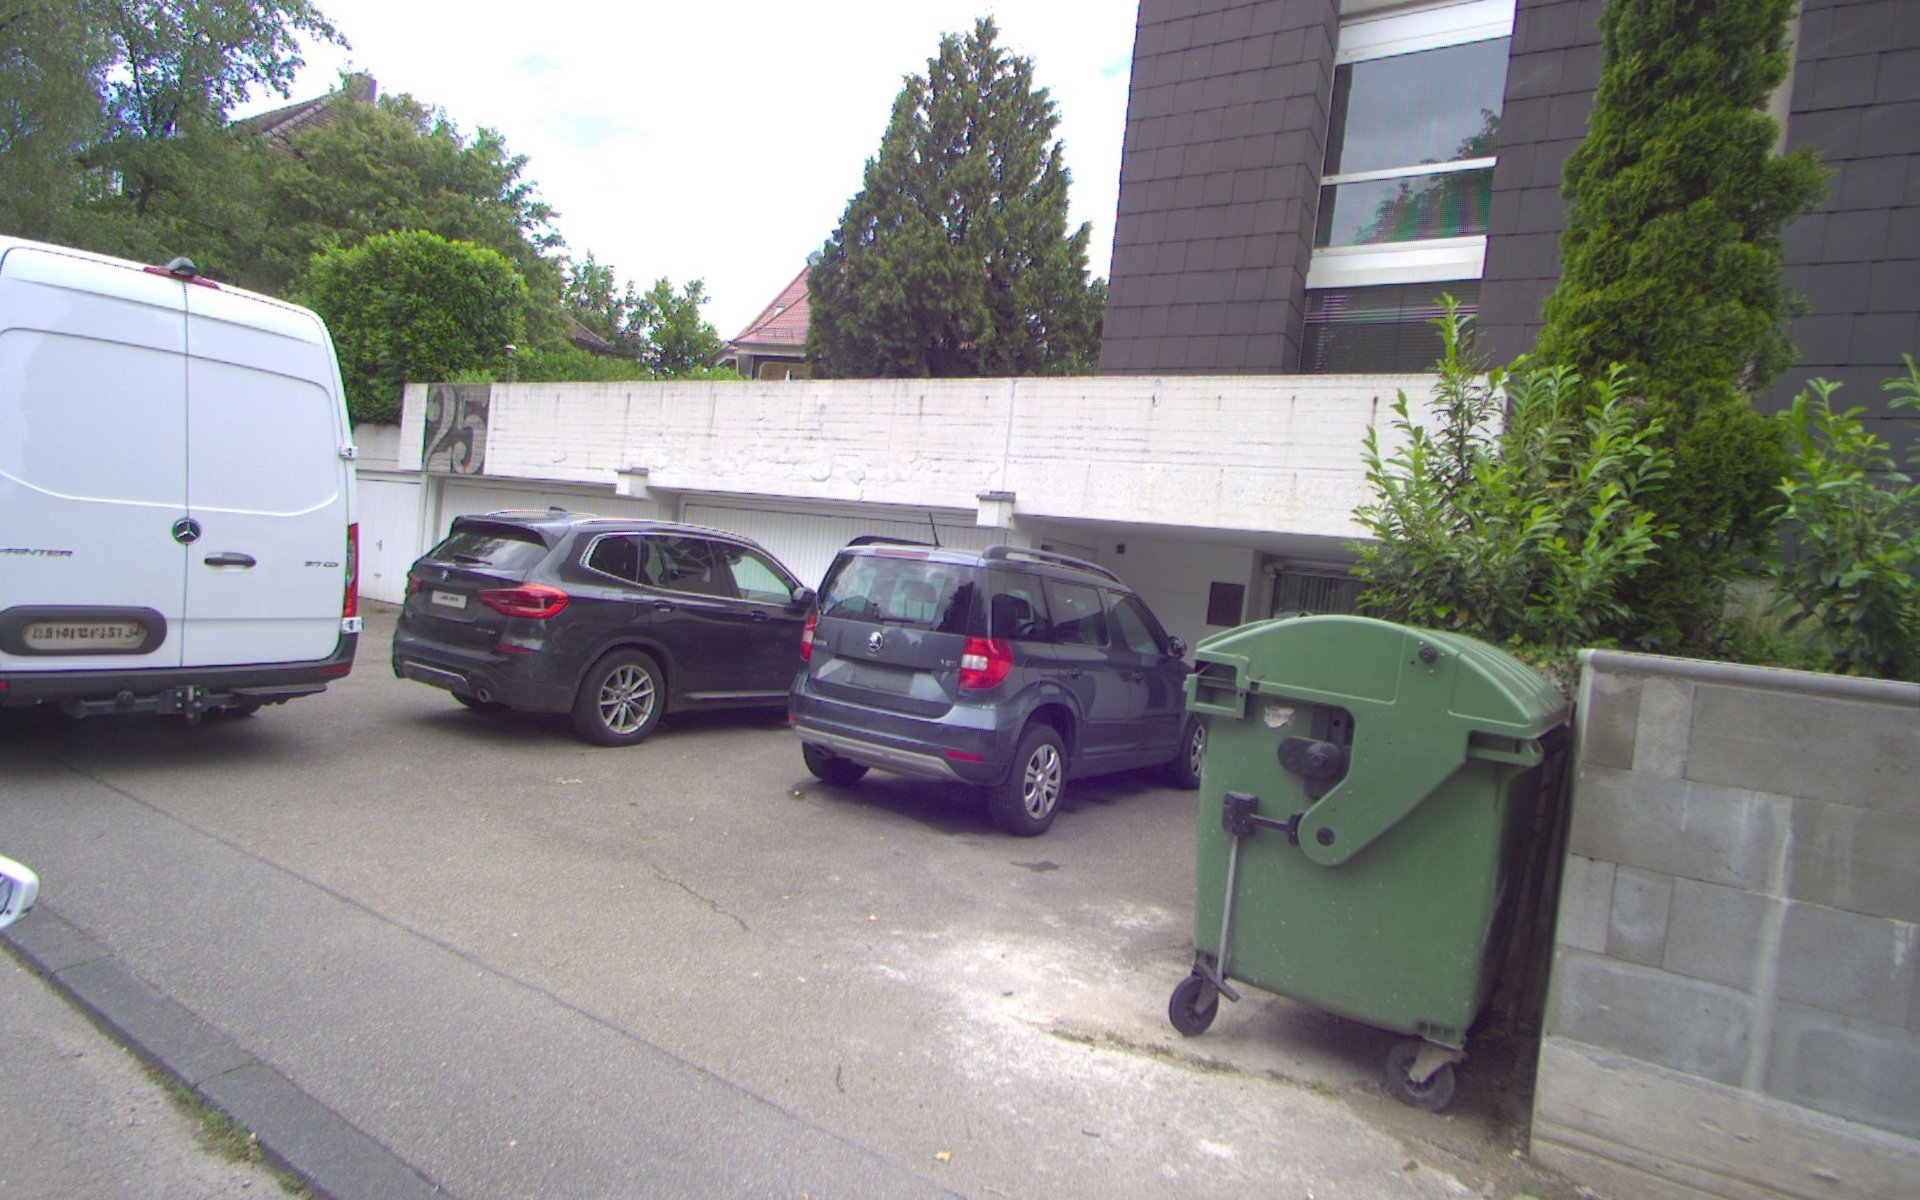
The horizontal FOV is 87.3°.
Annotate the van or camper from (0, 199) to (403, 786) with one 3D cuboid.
[{"bbox_3d":[-6.698,-0.734,6.902,6.432,2.653,1.995,7,1,32],"label":"van or camper"}]

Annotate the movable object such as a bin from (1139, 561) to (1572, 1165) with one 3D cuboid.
[{"bbox_3d":[1.360,0.726,3.392,1.016,1.550,1.034,7,1,33],"label":"movable object such as a bin"}]

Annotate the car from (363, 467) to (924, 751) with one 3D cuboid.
[{"bbox_3d":[-2.354,0.125,8.679,1.710,1.772,4.419,7,1,33],"label":"car"}]

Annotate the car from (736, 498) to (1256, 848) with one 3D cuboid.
[{"bbox_3d":[0.541,0.454,7.397,1.804,1.772,3.973,7,1,35],"label":"car"}]
